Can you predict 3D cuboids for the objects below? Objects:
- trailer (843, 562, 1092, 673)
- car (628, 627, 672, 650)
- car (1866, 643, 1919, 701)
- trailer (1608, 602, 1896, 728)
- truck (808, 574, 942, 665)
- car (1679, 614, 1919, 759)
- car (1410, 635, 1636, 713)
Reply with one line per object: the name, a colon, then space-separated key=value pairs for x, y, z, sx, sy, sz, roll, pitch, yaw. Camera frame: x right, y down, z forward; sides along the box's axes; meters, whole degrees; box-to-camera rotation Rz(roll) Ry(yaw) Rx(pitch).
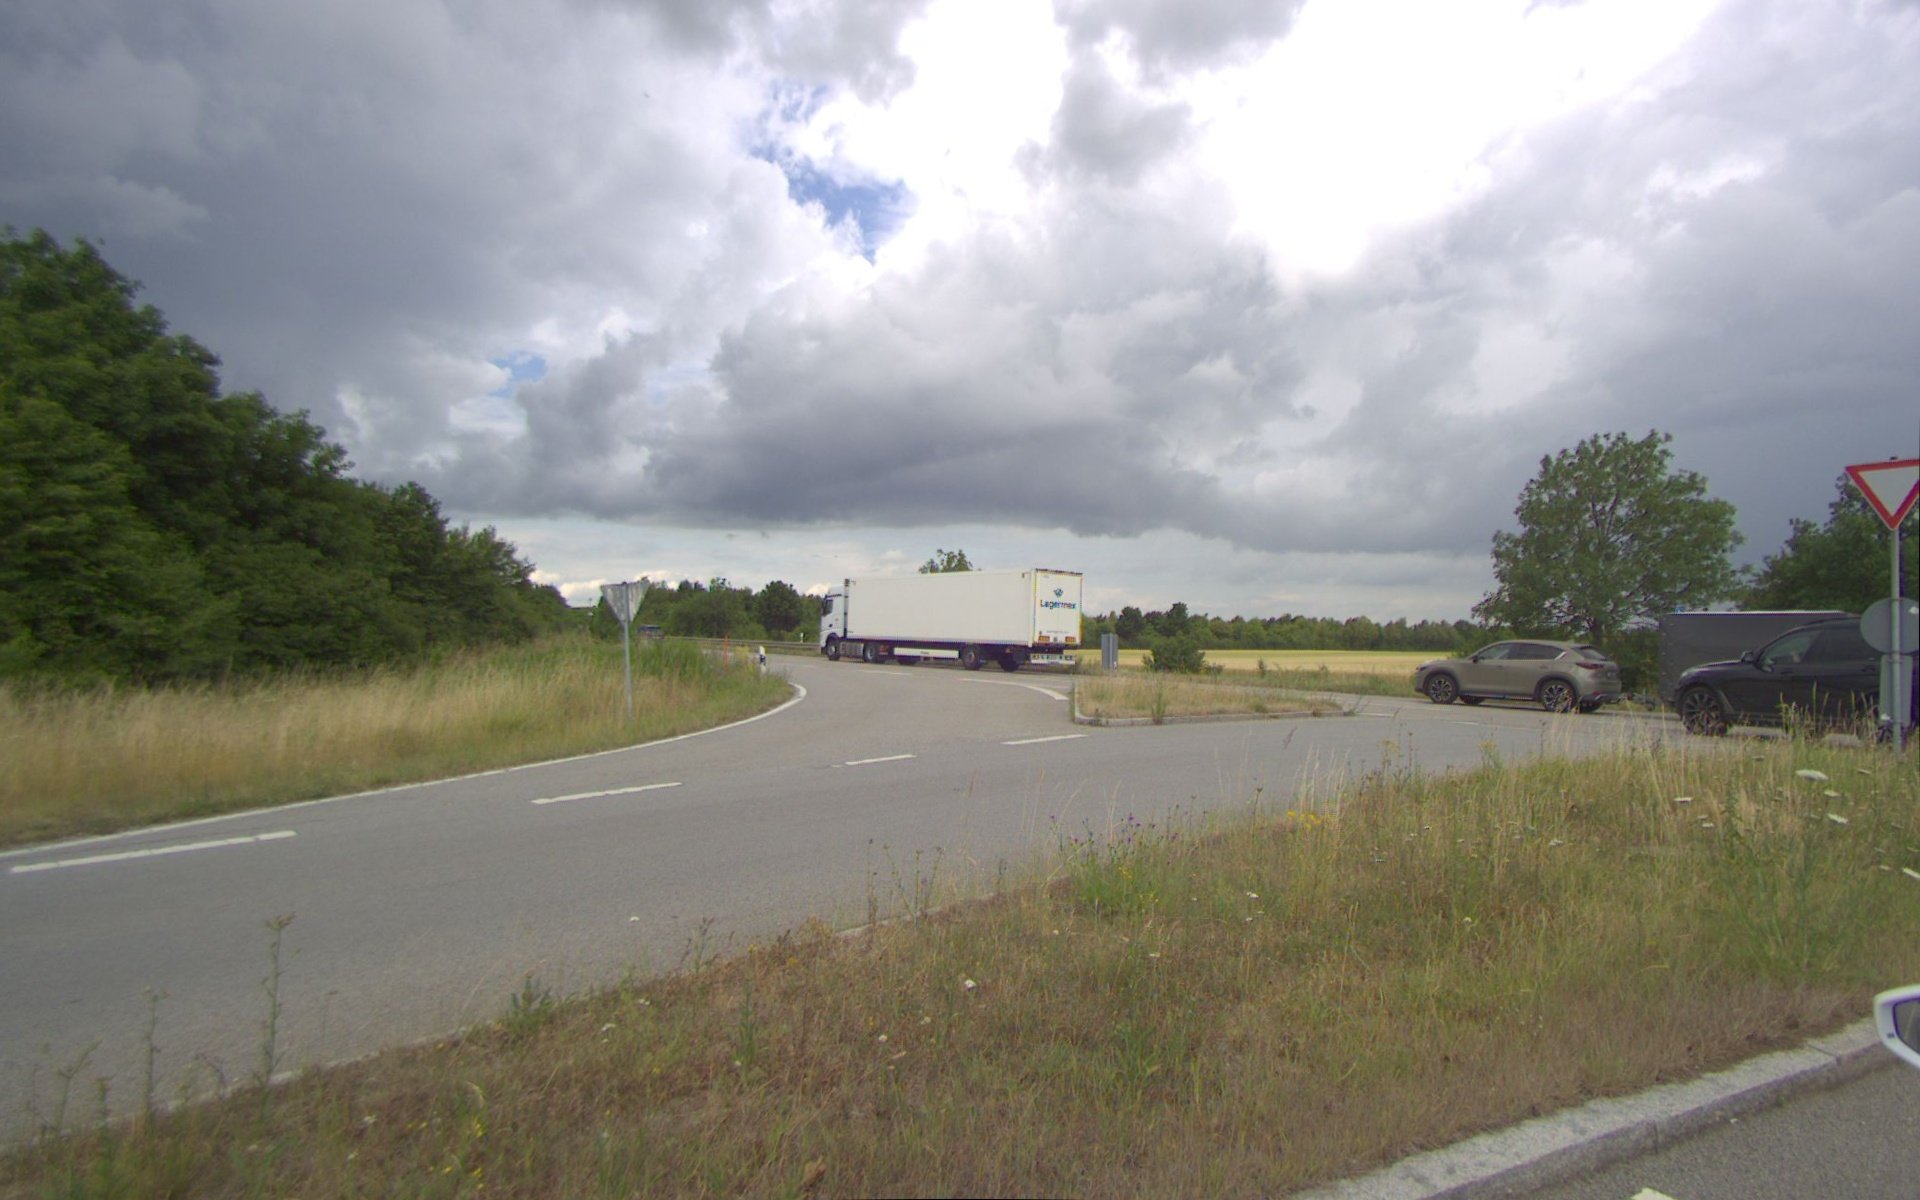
trailer: x=-0.240 y=0.840 z=43.793 sx=3.101 sy=4.066 sz=13.741 roll=4 pitch=-3 yaw=-37
car: x=-23.233 y=2.902 z=75.216 sx=1.980 sy=1.622 sz=4.184 roll=1 pitch=-3 yaw=-35
car: x=35.446 y=2.578 z=35.625 sx=2.295 sy=2.040 sz=4.917 roll=-1 pitch=-2 yaw=2
trailer: x=16.485 y=1.318 z=21.086 sx=2.397 sy=2.322 sz=4.348 roll=4 pitch=-4 yaw=-38
truck: x=-4.302 y=1.000 z=49.188 sx=3.101 sy=4.066 sz=7.231 roll=4 pitch=-3 yaw=-37
car: x=12.871 y=1.160 z=14.202 sx=1.961 sy=1.798 sz=4.643 roll=1 pitch=-2 yaw=-2
car: x=13.598 y=1.743 z=24.477 sx=1.984 sy=1.704 sz=4.428 roll=4 pitch=-4 yaw=-39
